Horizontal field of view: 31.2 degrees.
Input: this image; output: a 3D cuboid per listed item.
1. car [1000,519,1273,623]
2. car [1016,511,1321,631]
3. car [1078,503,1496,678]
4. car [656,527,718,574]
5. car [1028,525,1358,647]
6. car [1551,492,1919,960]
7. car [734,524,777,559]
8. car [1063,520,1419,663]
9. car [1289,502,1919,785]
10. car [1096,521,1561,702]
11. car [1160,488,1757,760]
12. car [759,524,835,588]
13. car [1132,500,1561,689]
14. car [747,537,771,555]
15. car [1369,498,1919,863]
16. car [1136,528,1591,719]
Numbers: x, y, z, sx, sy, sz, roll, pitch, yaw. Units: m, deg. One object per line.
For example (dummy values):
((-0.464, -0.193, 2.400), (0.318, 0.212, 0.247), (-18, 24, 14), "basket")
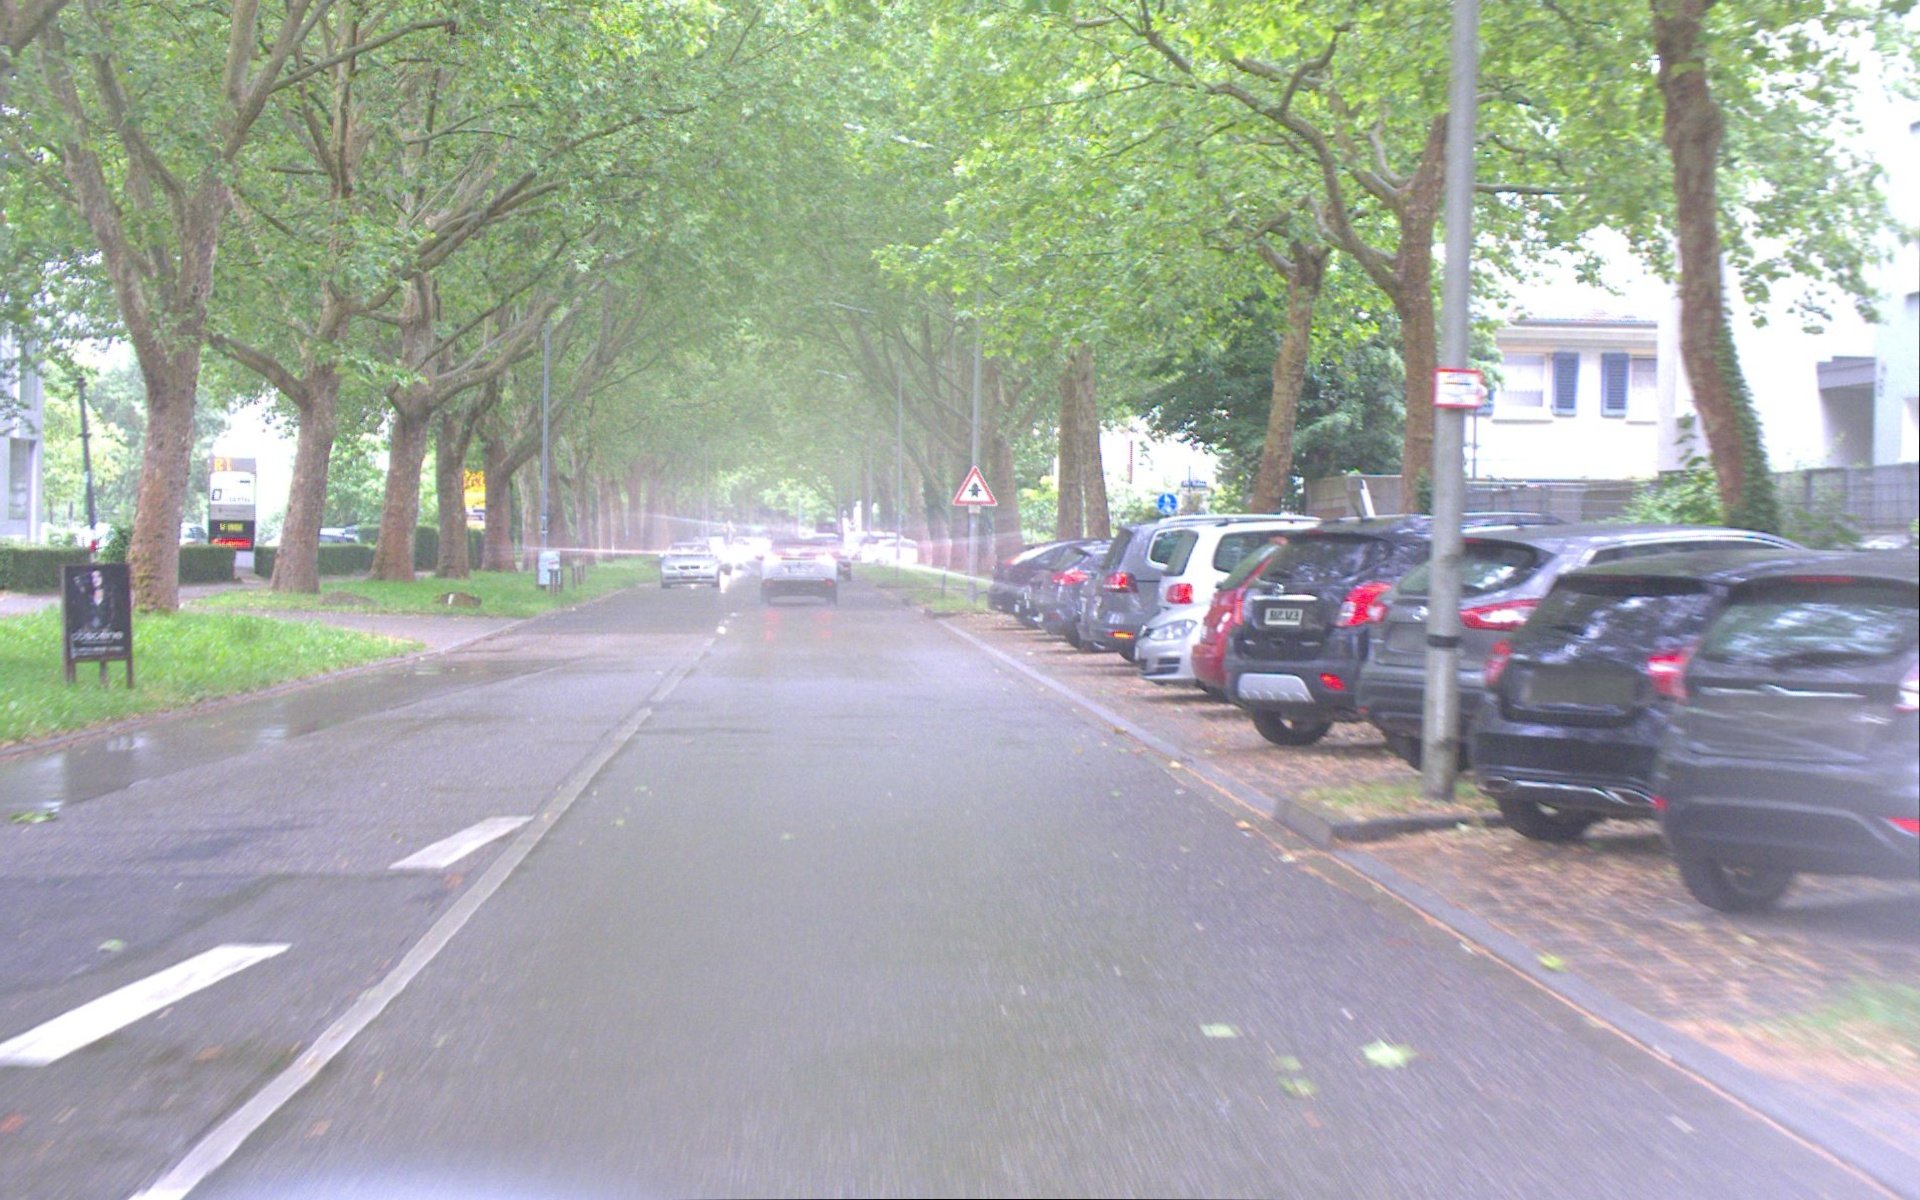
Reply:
((2.725, -0.457, 53.730), (4.041, 1.525, 1.781), (1, 1, -5), "car")
((3.002, -0.440, 50.139), (4.209, 1.650, 1.914), (1, 1, -3), "car")
((3.552, -0.122, 37.944), (4.337, 1.756, 1.819), (2, 1, -2), "car")
((-8.418, -1.549, 106.228), (1.678, 1.384, 4.550), (0, 2, -2), "car")
((3.006, -0.201, 44.813), (4.034, 1.436, 1.686), (-2, 2, -5), "car")
((4.397, 0.433, 13.634), (3.756, 1.596, 1.803), (1, 2, -32), "car")
((-8.505, -2.457, 143.435), (1.706, 1.406, 3.645), (-1, 2, -3), "car")
((3.288, -0.116, 40.708), (3.986, 1.532, 1.631), (2, 1, -2), "car")
((4.312, 0.253, 21.555), (3.986, 1.596, 2.036), (1, 2, -29), "car")
((3.363, 0.086, 31.864), (3.986, 1.507, 1.801), (2, 1, -4), "car")
((3.535, 0.099, 24.274), (3.855, 1.691, 1.838), (-2, 3, -30), "car")
((-3.808, -1.050, 80.273), (1.706, 1.406, 3.645), (-1, 2, -3), "car")
((3.798, -0.076, 34.263), (3.986, 1.721, 1.801), (2, 1, -2), "car")
((-15.253, -4.082, 260.667), (1.720, 1.250, 4.001), (2, 1, -2), "car")
((4.185, 0.356, 17.057), (3.987, 1.596, 1.803), (1, 2, -32), "car")
((3.407, 0.177, 29.555), (3.703, 1.531, 1.738), (-1, 1, 1), "car")
